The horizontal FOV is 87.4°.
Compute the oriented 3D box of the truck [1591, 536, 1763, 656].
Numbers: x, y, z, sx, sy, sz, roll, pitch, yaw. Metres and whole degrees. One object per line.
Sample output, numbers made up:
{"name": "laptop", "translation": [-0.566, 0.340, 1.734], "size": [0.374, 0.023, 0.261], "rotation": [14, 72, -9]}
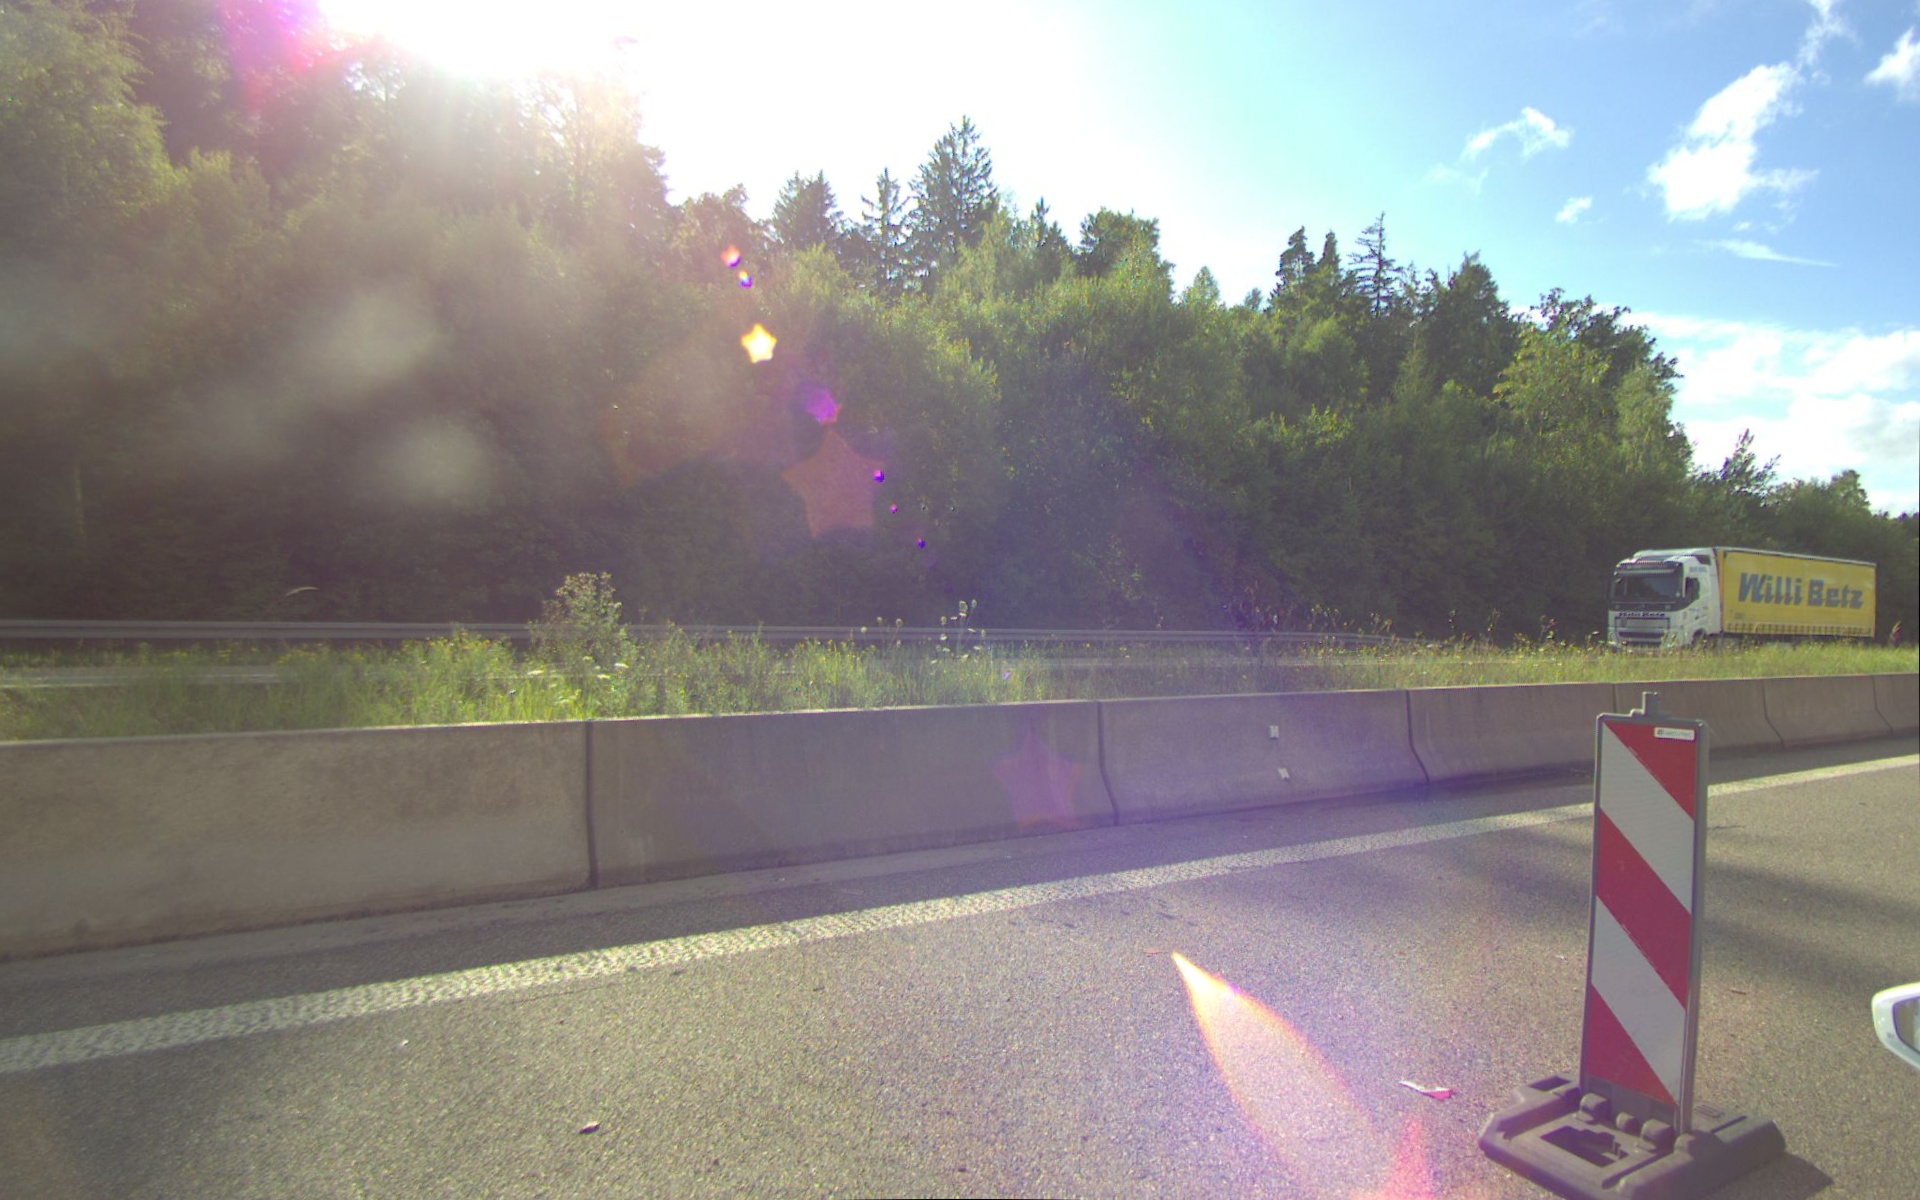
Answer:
{"name": "truck", "translation": [25.801, -0.072, 36.113], "size": [5.879, 3.961, 2.813], "rotation": [2, 0, -30]}

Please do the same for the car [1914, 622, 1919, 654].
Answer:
{"name": "car", "translation": [64.272, 2.518, 65.451], "size": [3.953, 2.040, 1.984], "rotation": [2, 0, -30]}

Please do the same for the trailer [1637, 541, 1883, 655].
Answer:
{"name": "trailer", "translation": [31.985, 0.108, 39.805], "size": [13.777, 3.974, 2.814], "rotation": [2, 0, -31]}
